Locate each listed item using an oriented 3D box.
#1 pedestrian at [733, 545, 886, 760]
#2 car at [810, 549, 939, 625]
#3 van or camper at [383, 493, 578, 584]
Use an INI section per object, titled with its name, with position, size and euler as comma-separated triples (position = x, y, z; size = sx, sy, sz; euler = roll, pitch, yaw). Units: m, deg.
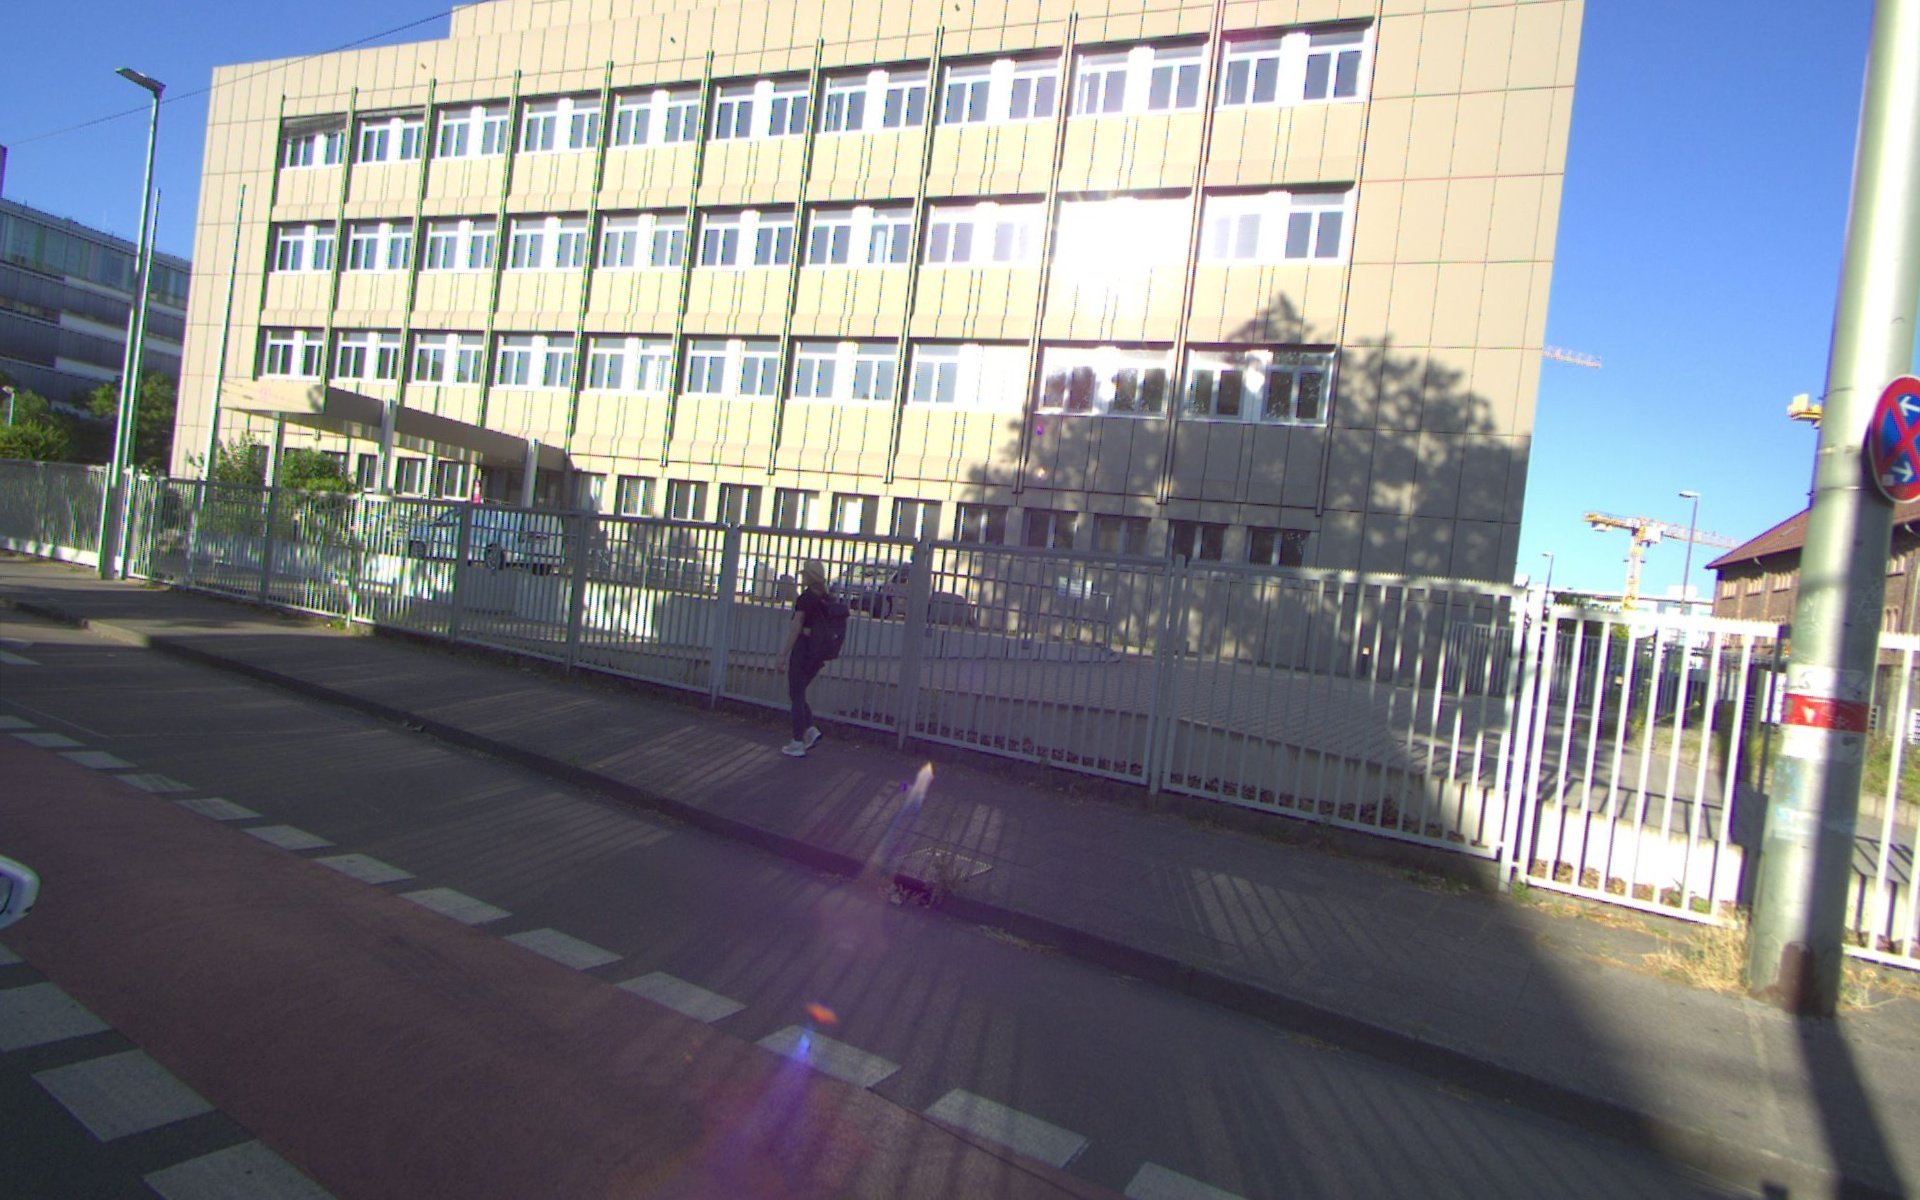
[pedestrian]
position = -1.301, 0.440, 8.723
size = 0.915, 1.705, 0.696
euler = 7, 1, 34
[car]
position = -2.391, -0.324, 29.328
size = 1.957, 1.739, 4.265
euler = 7, 0, 21
[van or camper]
position = -13.498, -1.733, 28.336
size = 4.907, 1.933, 1.986
euler = 7, 1, 21
